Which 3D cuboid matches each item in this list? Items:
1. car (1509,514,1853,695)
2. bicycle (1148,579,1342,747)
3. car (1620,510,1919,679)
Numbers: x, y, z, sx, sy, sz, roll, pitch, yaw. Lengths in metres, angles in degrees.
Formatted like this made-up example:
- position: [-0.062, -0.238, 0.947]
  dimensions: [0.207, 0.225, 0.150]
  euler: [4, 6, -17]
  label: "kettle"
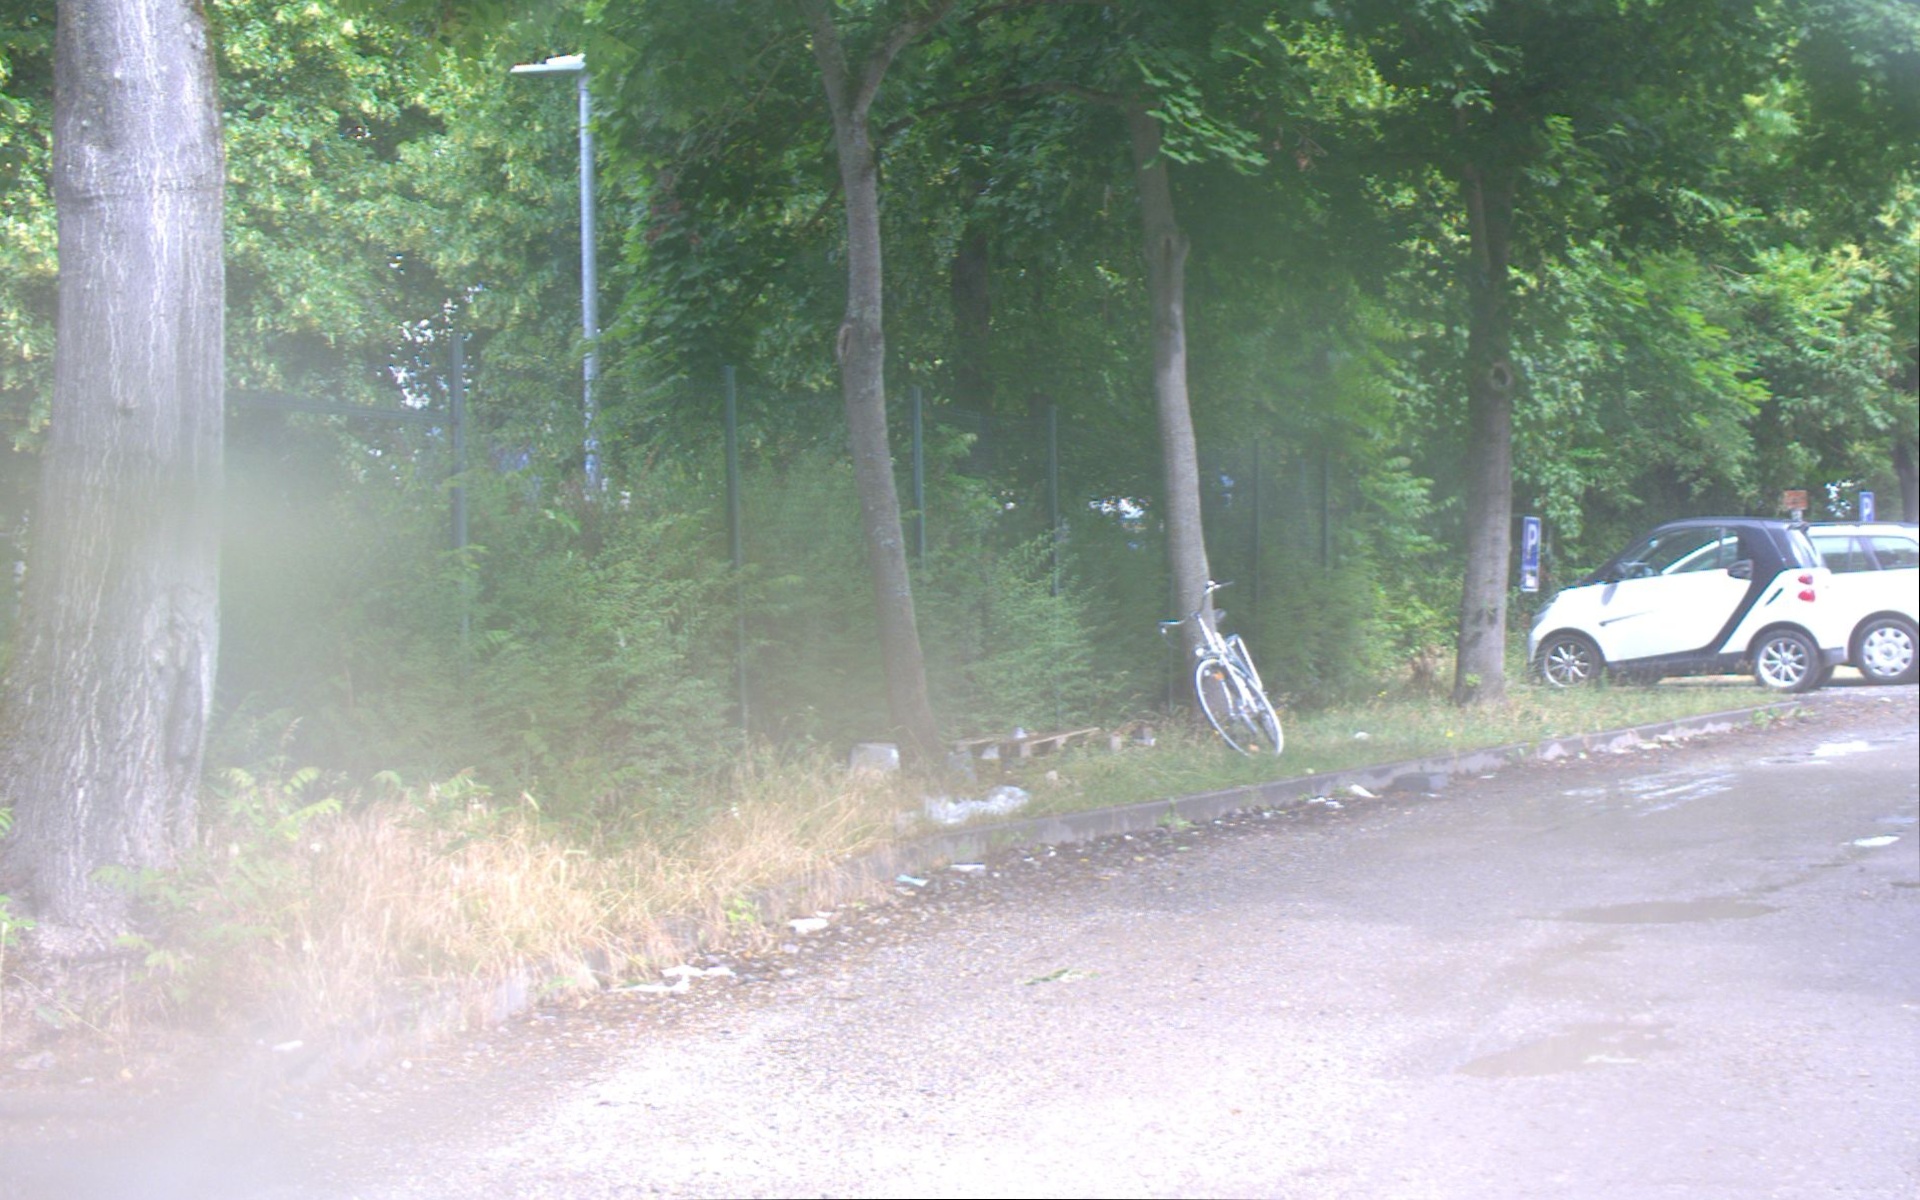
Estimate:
- position: [6.395, 0.032, 30.412]
  dimensions: [2.756, 1.479, 1.592]
  euler: [-1, 2, 19]
  label: "car"
- position: [1.626, 0.337, 19.419]
  dimensions: [0.476, 0.857, 1.453]
  euler: [1, 3, 32]
  label: "bicycle"
- position: [8.077, -0.070, 32.271]
  dimensions: [3.435, 1.463, 1.739]
  euler: [-1, 2, 19]
  label: "car"
